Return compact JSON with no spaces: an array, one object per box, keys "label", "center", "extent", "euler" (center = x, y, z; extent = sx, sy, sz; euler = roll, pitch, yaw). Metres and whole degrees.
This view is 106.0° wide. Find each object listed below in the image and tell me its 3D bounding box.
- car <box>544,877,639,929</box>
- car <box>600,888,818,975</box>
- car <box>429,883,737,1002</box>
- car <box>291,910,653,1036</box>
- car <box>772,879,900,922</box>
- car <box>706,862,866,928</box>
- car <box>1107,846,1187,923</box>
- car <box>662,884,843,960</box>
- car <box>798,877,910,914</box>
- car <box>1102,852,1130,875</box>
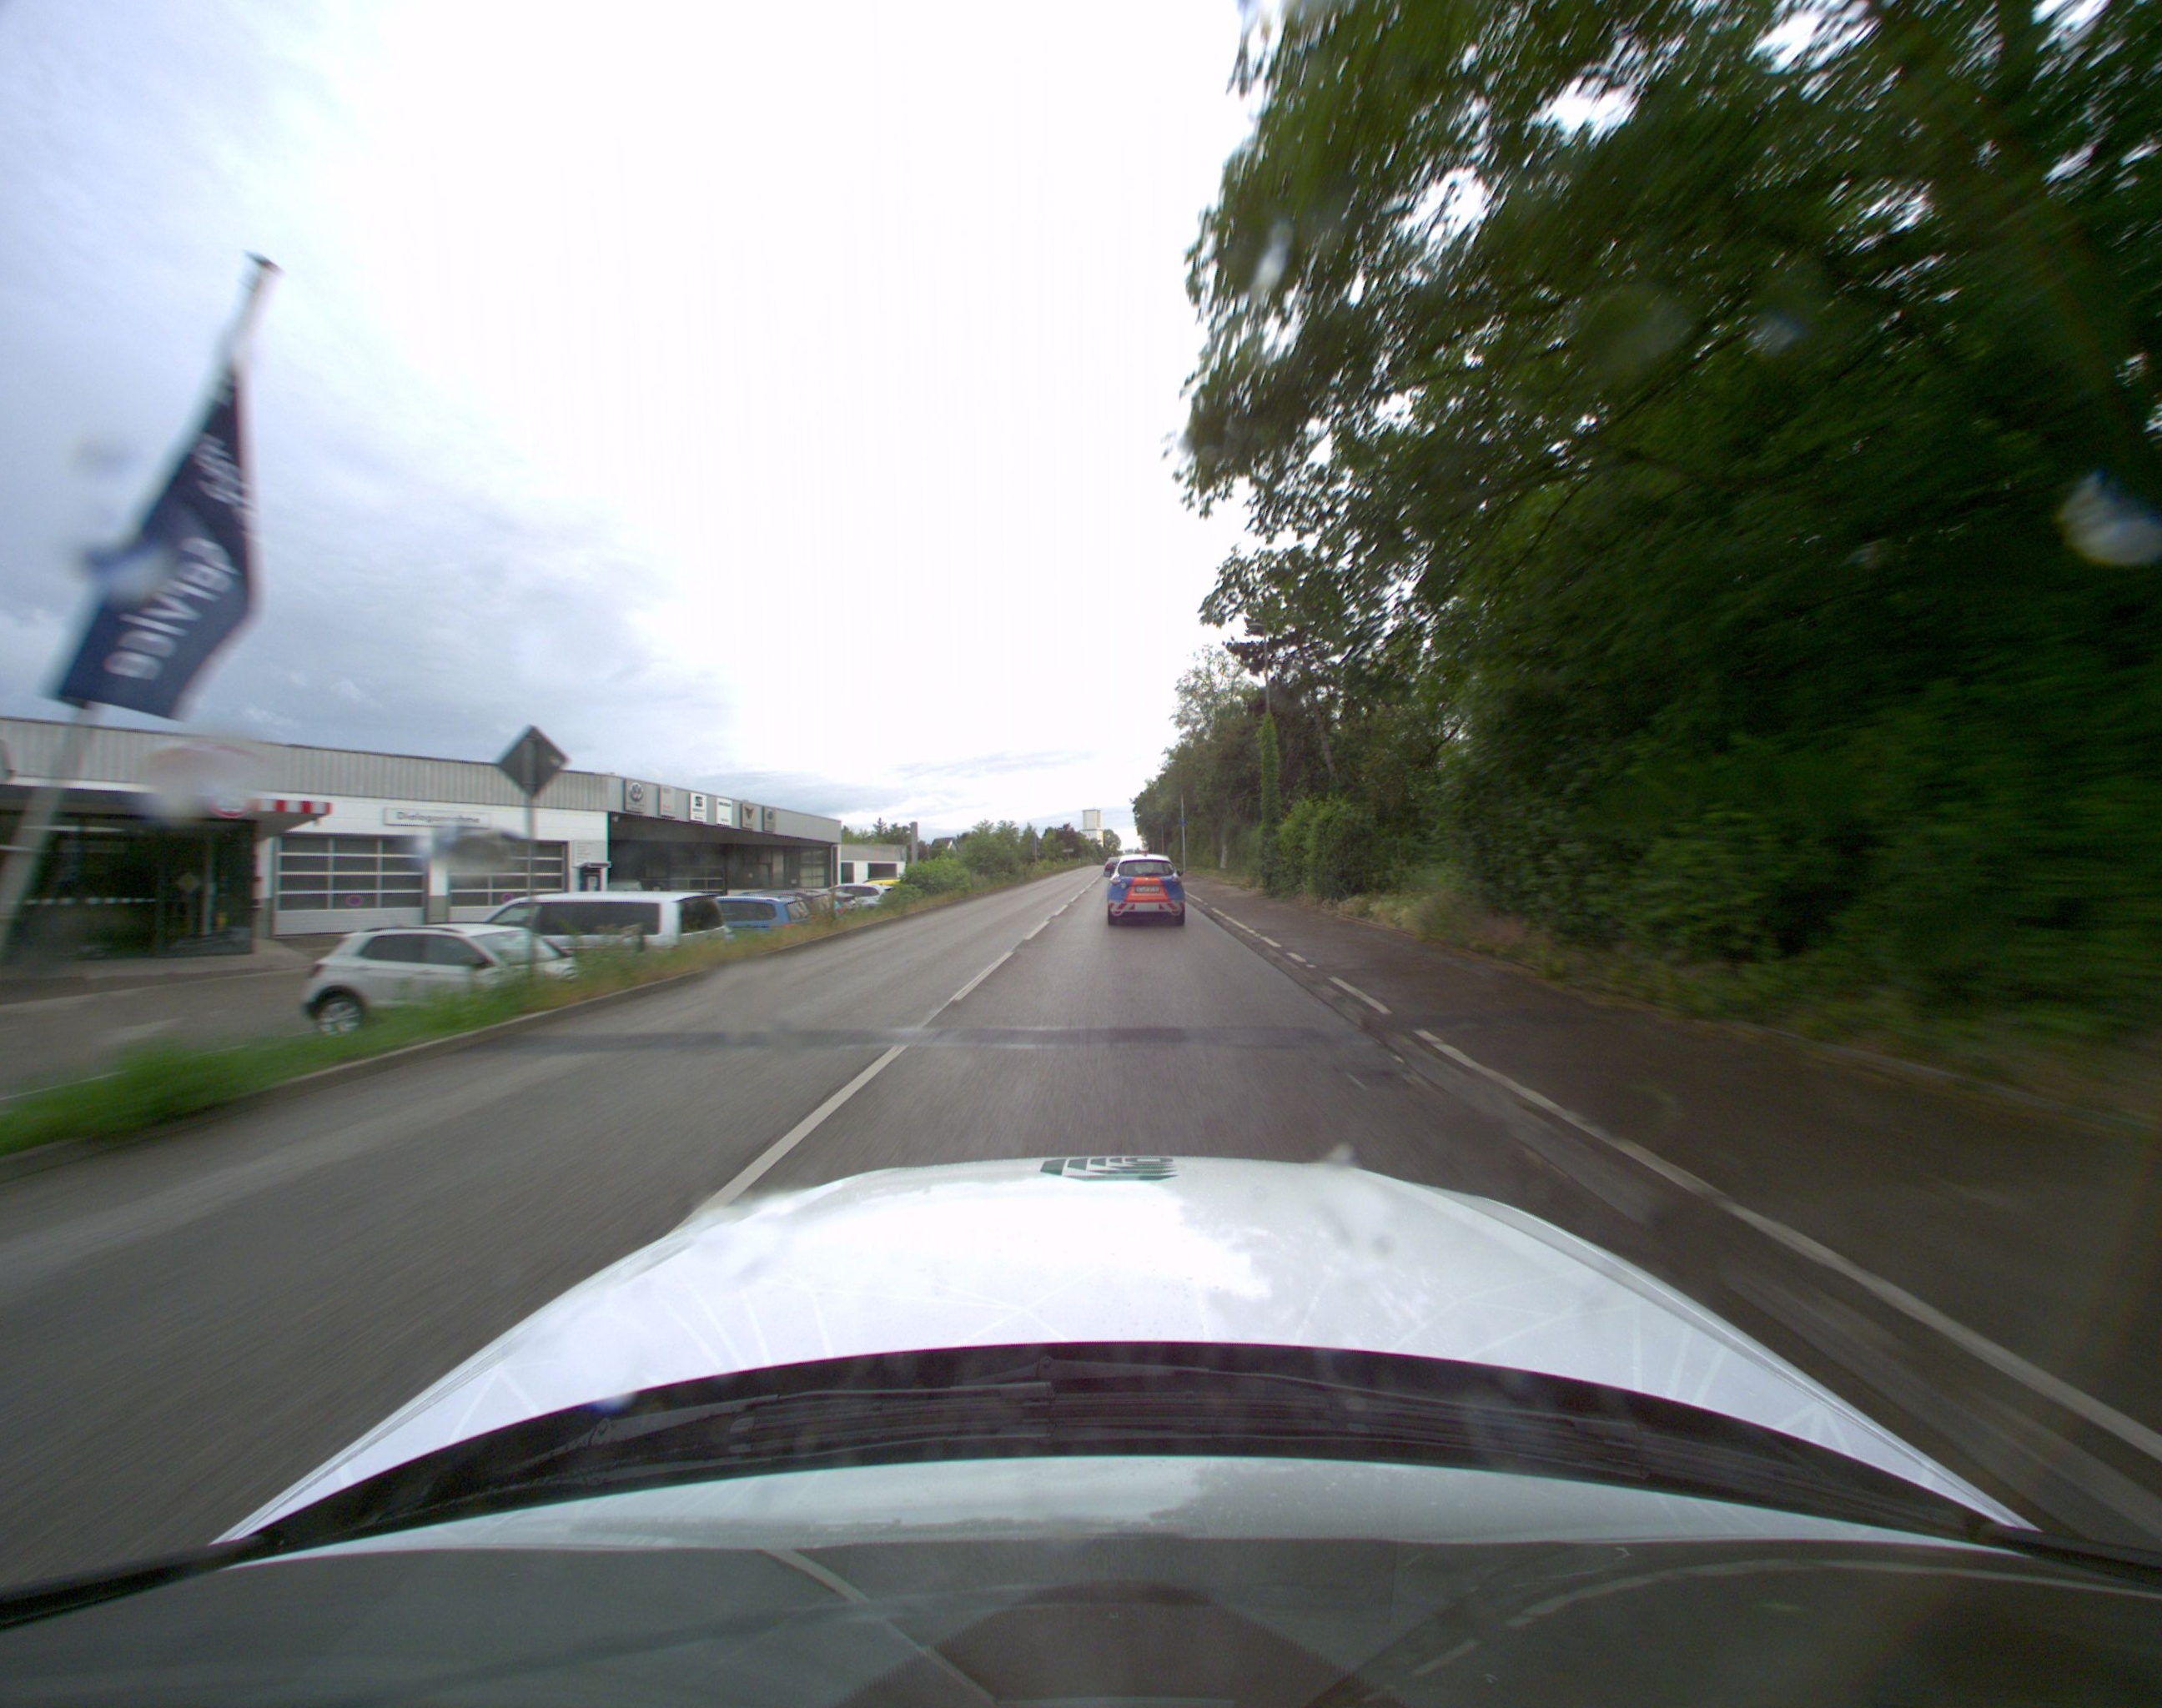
[{"label":"car","center":[-21.256,2.129,35.332],"extent":[4.426,1.960,2.001],"euler":[-5,-3,37]},{"label":"car","center":[-9.089,1.865,20.201],"extent":[4.399,1.798,2.001],"euler":[-2,0,-1]},{"label":"car","center":[-8.974,1.558,14.965],"extent":[4.397,1.798,1.934],"euler":[-2,0,1]},{"label":"car","center":[-8.937,1.714,12.207],"extent":[3.995,1.478,1.824],"euler":[-2,0,1]},{"label":"car","center":[-9.178,1.730,30.775],"extent":[4.214,1.368,1.874],"euler":[-2,0,-1]},{"label":"car","center":[-9.067,1.237,25.297],"extent":[4.214,1.798,1.874],"euler":[-2,0,-1]},{"label":"car","center":[1.496,0.689,19.079],"extent":[1.650,1.593,3.570],"euler":[-1,-2,3]},{"label":"car","center":[-9.059,1.840,22.735],"extent":[4.214,1.798,1.874],"euler":[-2,0,-1]},{"label":"car","center":[-9.258,1.694,33.490],"extent":[4.051,1.291,1.804],"euler":[-2,0,-1]},{"label":"car","center":[2.556,0.705,60.311],"extent":[1.797,1.590,3.561],"euler":[-3,-1,-1]}]
